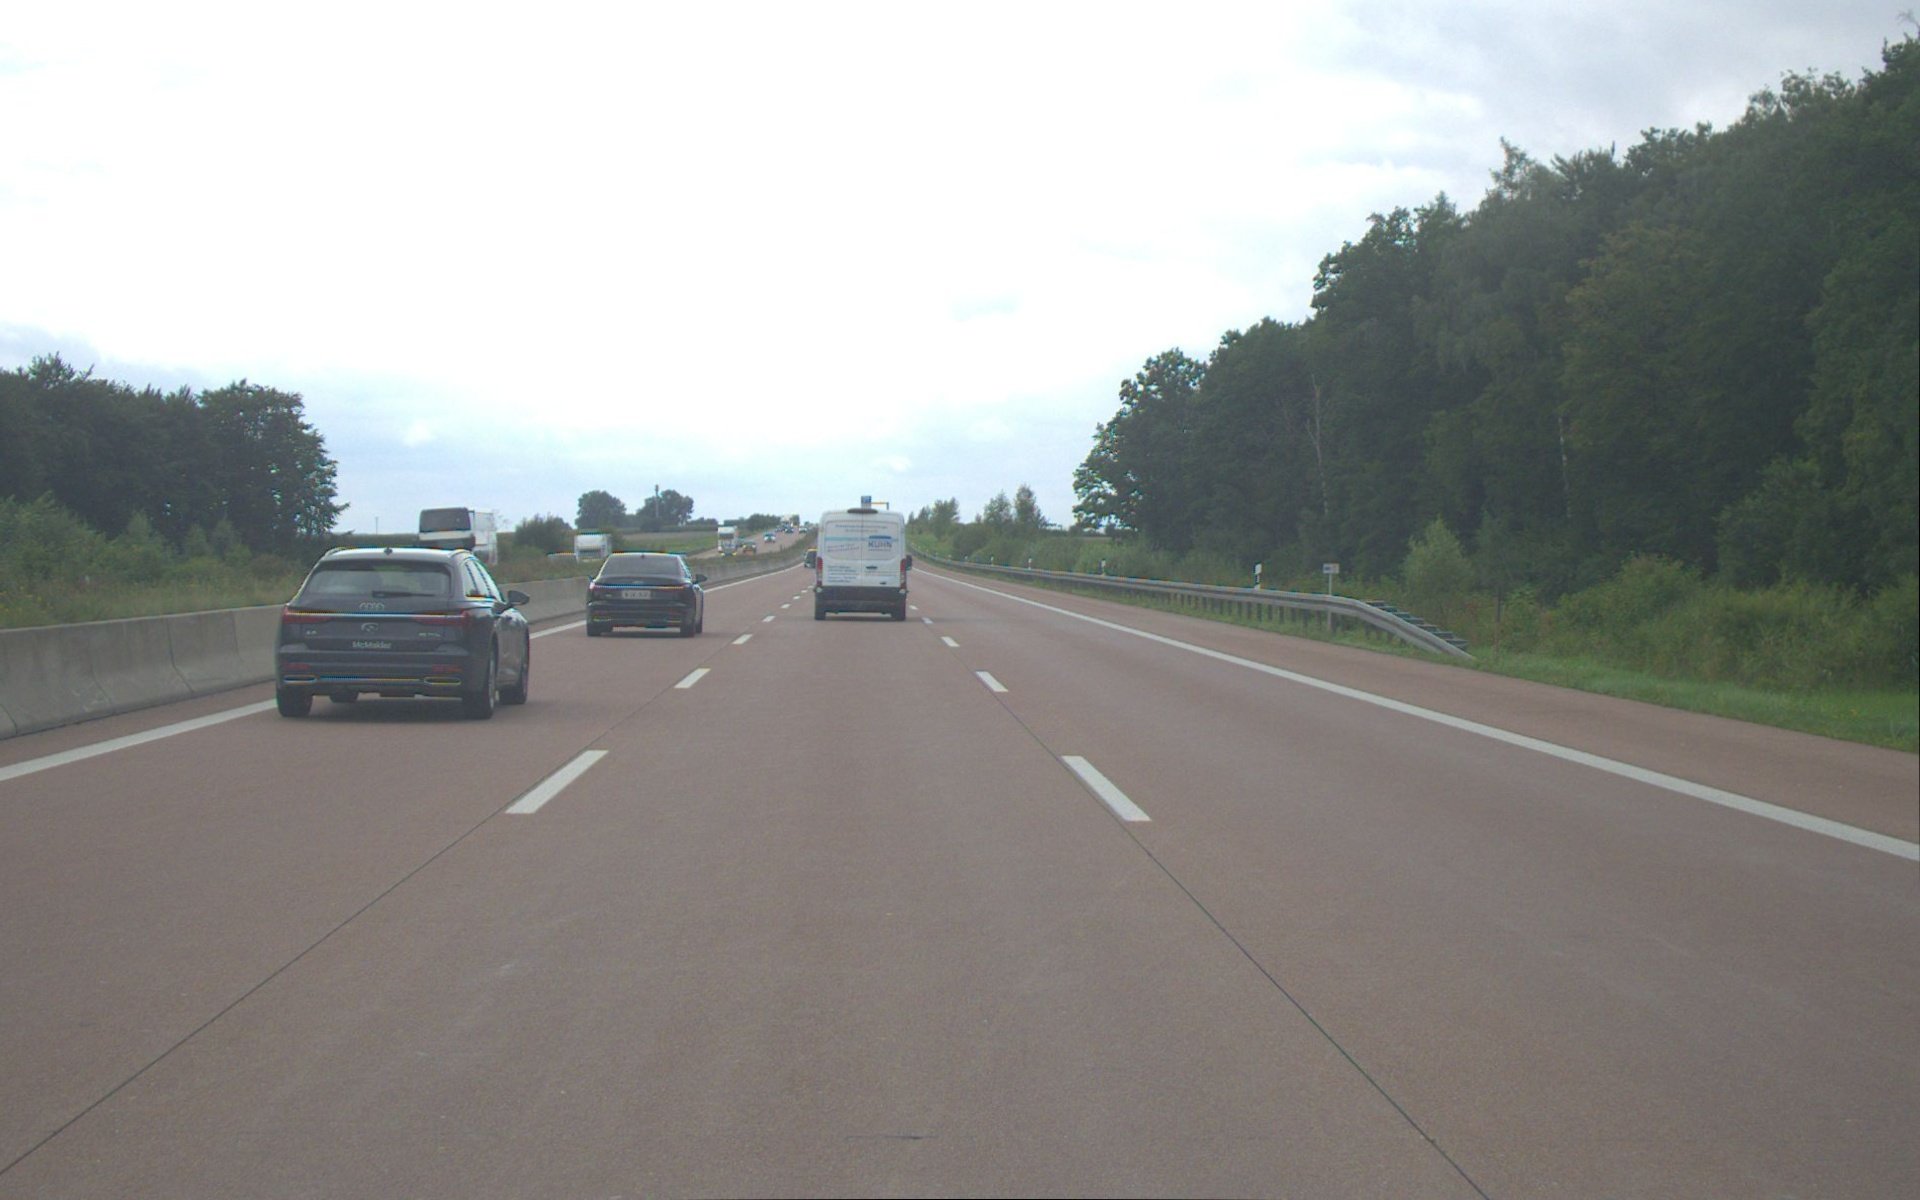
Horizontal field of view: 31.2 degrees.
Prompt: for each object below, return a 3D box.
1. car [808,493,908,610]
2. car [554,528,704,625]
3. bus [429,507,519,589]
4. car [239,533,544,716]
[{"bbox_3d":[-2.271,-1.141,77.666,2.137,2.498,7.132,0,1,-1],"label":"car"},{"bbox_3d":[-5.757,-0.448,60.403,2.085,1.545,5.674,1,1,0],"label":"car"},{"bbox_3d":[-24.342,-2.631,172.880,3.048,3.875,14.364,1,1,-3],"label":"bus"},{"bbox_3d":[-5.074,0.156,31.435,2.059,1.486,5.454,1,1,-2],"label":"car"}]
